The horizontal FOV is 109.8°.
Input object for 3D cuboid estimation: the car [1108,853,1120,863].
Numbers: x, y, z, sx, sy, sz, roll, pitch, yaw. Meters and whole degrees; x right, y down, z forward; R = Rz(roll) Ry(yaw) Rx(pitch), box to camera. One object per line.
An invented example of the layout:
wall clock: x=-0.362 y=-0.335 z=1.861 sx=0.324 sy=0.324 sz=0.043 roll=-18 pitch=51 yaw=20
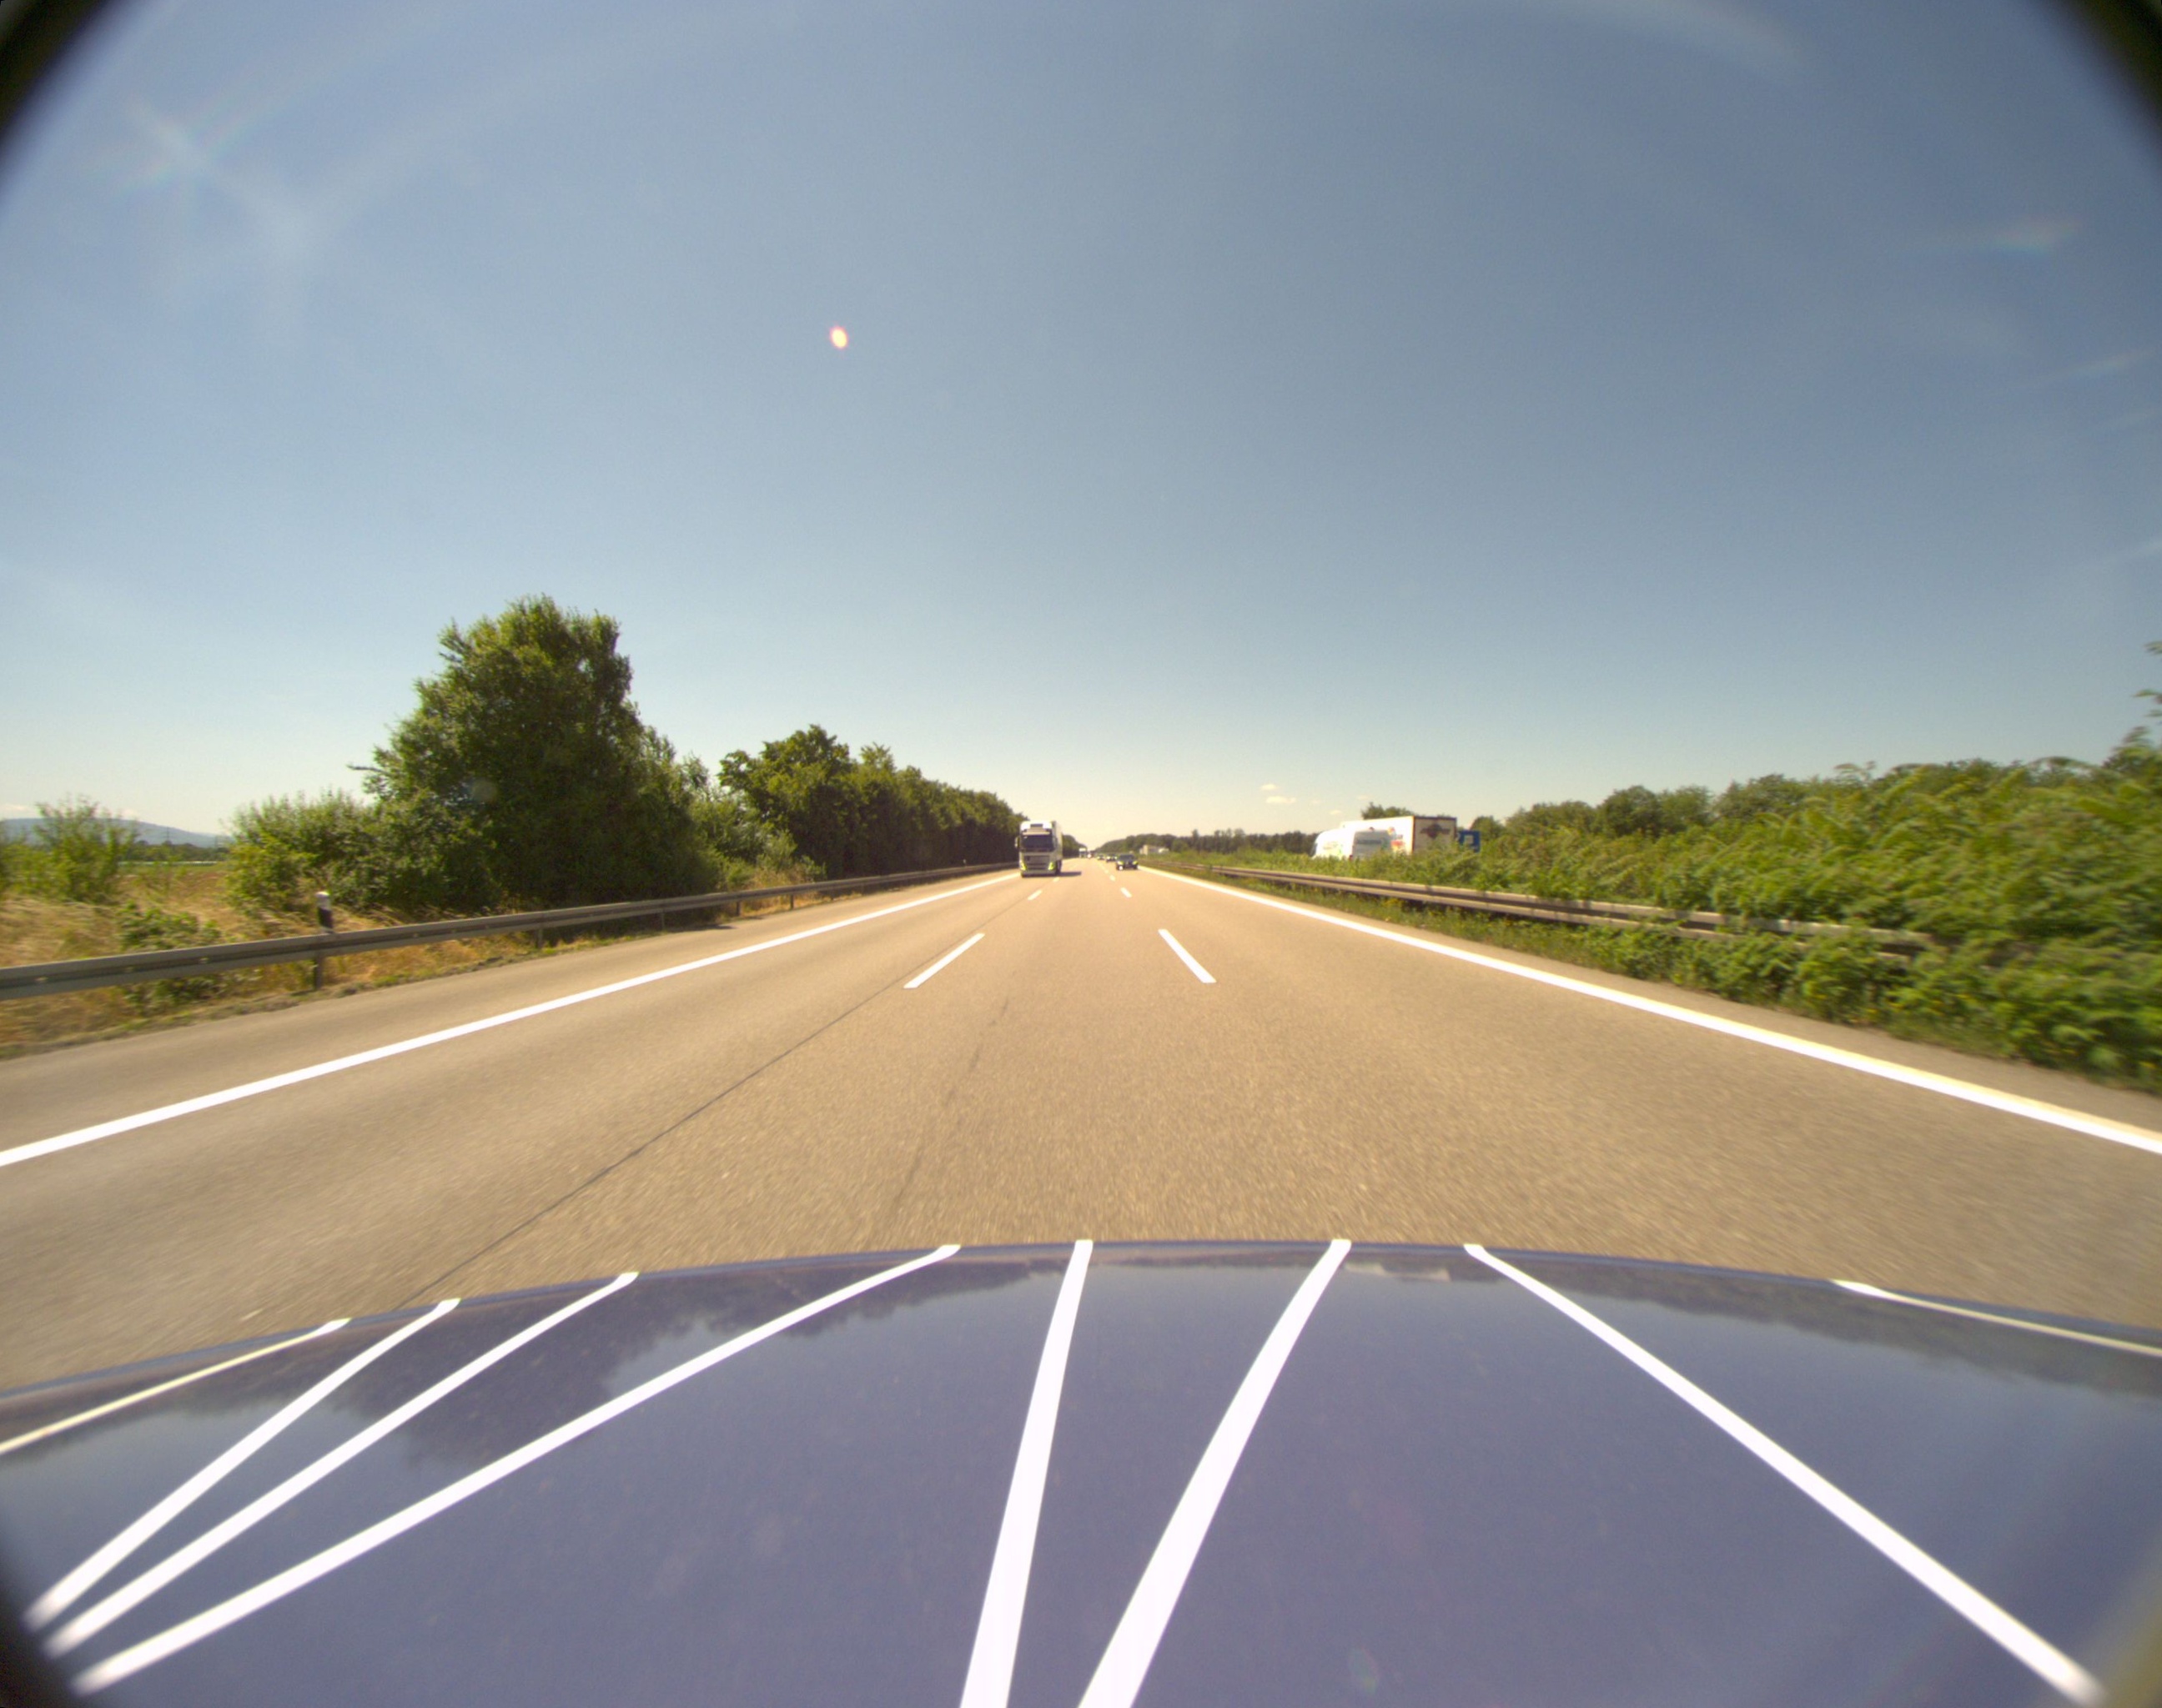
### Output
car: x=5.420 y=0.641 z=126.373 sx=1.811 sy=1.417 sz=4.000 roll=-3 pitch=0 yaw=1

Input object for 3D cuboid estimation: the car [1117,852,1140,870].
car: x=4.252 y=0.641 z=68.789 sx=1.811 sy=1.459 sz=4.000 roll=-3 pitch=0 yaw=1

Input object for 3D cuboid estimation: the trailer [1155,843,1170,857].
trailer: x=24.790 y=-1.203 z=232.159 sx=2.962 sy=4.035 sz=14.324 roll=-3 pitch=0 yaw=1

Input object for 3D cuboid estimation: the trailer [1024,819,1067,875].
trailer: x=-2.700 y=-0.571 z=62.494 sx=2.476 sy=4.038 sz=13.879 roll=-3 pitch=0 yaw=1

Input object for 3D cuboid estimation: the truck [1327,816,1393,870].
truck: x=21.415 y=-0.846 z=58.717 sx=2.941 sy=3.847 sz=5.751 roll=-3 pitch=1 yaw=1

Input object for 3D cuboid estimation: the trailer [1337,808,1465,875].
trailer: x=21.328 y=-0.795 z=52.015 sx=2.941 sy=3.847 sz=13.909 roll=-3 pitch=0 yaw=1

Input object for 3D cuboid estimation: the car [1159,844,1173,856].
car: x=18.368 y=-0.812 z=164.730 sx=2.085 sy=2.380 sz=6.732 roll=-3 pitch=0 yaw=0

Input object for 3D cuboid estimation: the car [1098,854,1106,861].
car: x=4.933 y=0.754 z=176.694 sx=1.811 sy=1.417 sz=4.000 roll=-3 pitch=0 yaw=1

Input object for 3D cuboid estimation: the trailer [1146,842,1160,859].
trailer: x=20.149 y=-1.038 z=214.052 sx=2.828 sy=4.500 sz=13.865 roll=-3 pitch=0 yaw=1

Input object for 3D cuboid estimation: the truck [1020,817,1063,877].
truck: x=-2.820 y=-0.523 z=55.910 sx=2.476 sy=4.039 sz=6.320 roll=-3 pitch=1 yaw=1

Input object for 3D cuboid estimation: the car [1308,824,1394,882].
car: x=12.922 y=-0.070 z=36.864 sx=1.811 sy=2.486 sz=6.778 roll=-3 pitch=0 yaw=1
